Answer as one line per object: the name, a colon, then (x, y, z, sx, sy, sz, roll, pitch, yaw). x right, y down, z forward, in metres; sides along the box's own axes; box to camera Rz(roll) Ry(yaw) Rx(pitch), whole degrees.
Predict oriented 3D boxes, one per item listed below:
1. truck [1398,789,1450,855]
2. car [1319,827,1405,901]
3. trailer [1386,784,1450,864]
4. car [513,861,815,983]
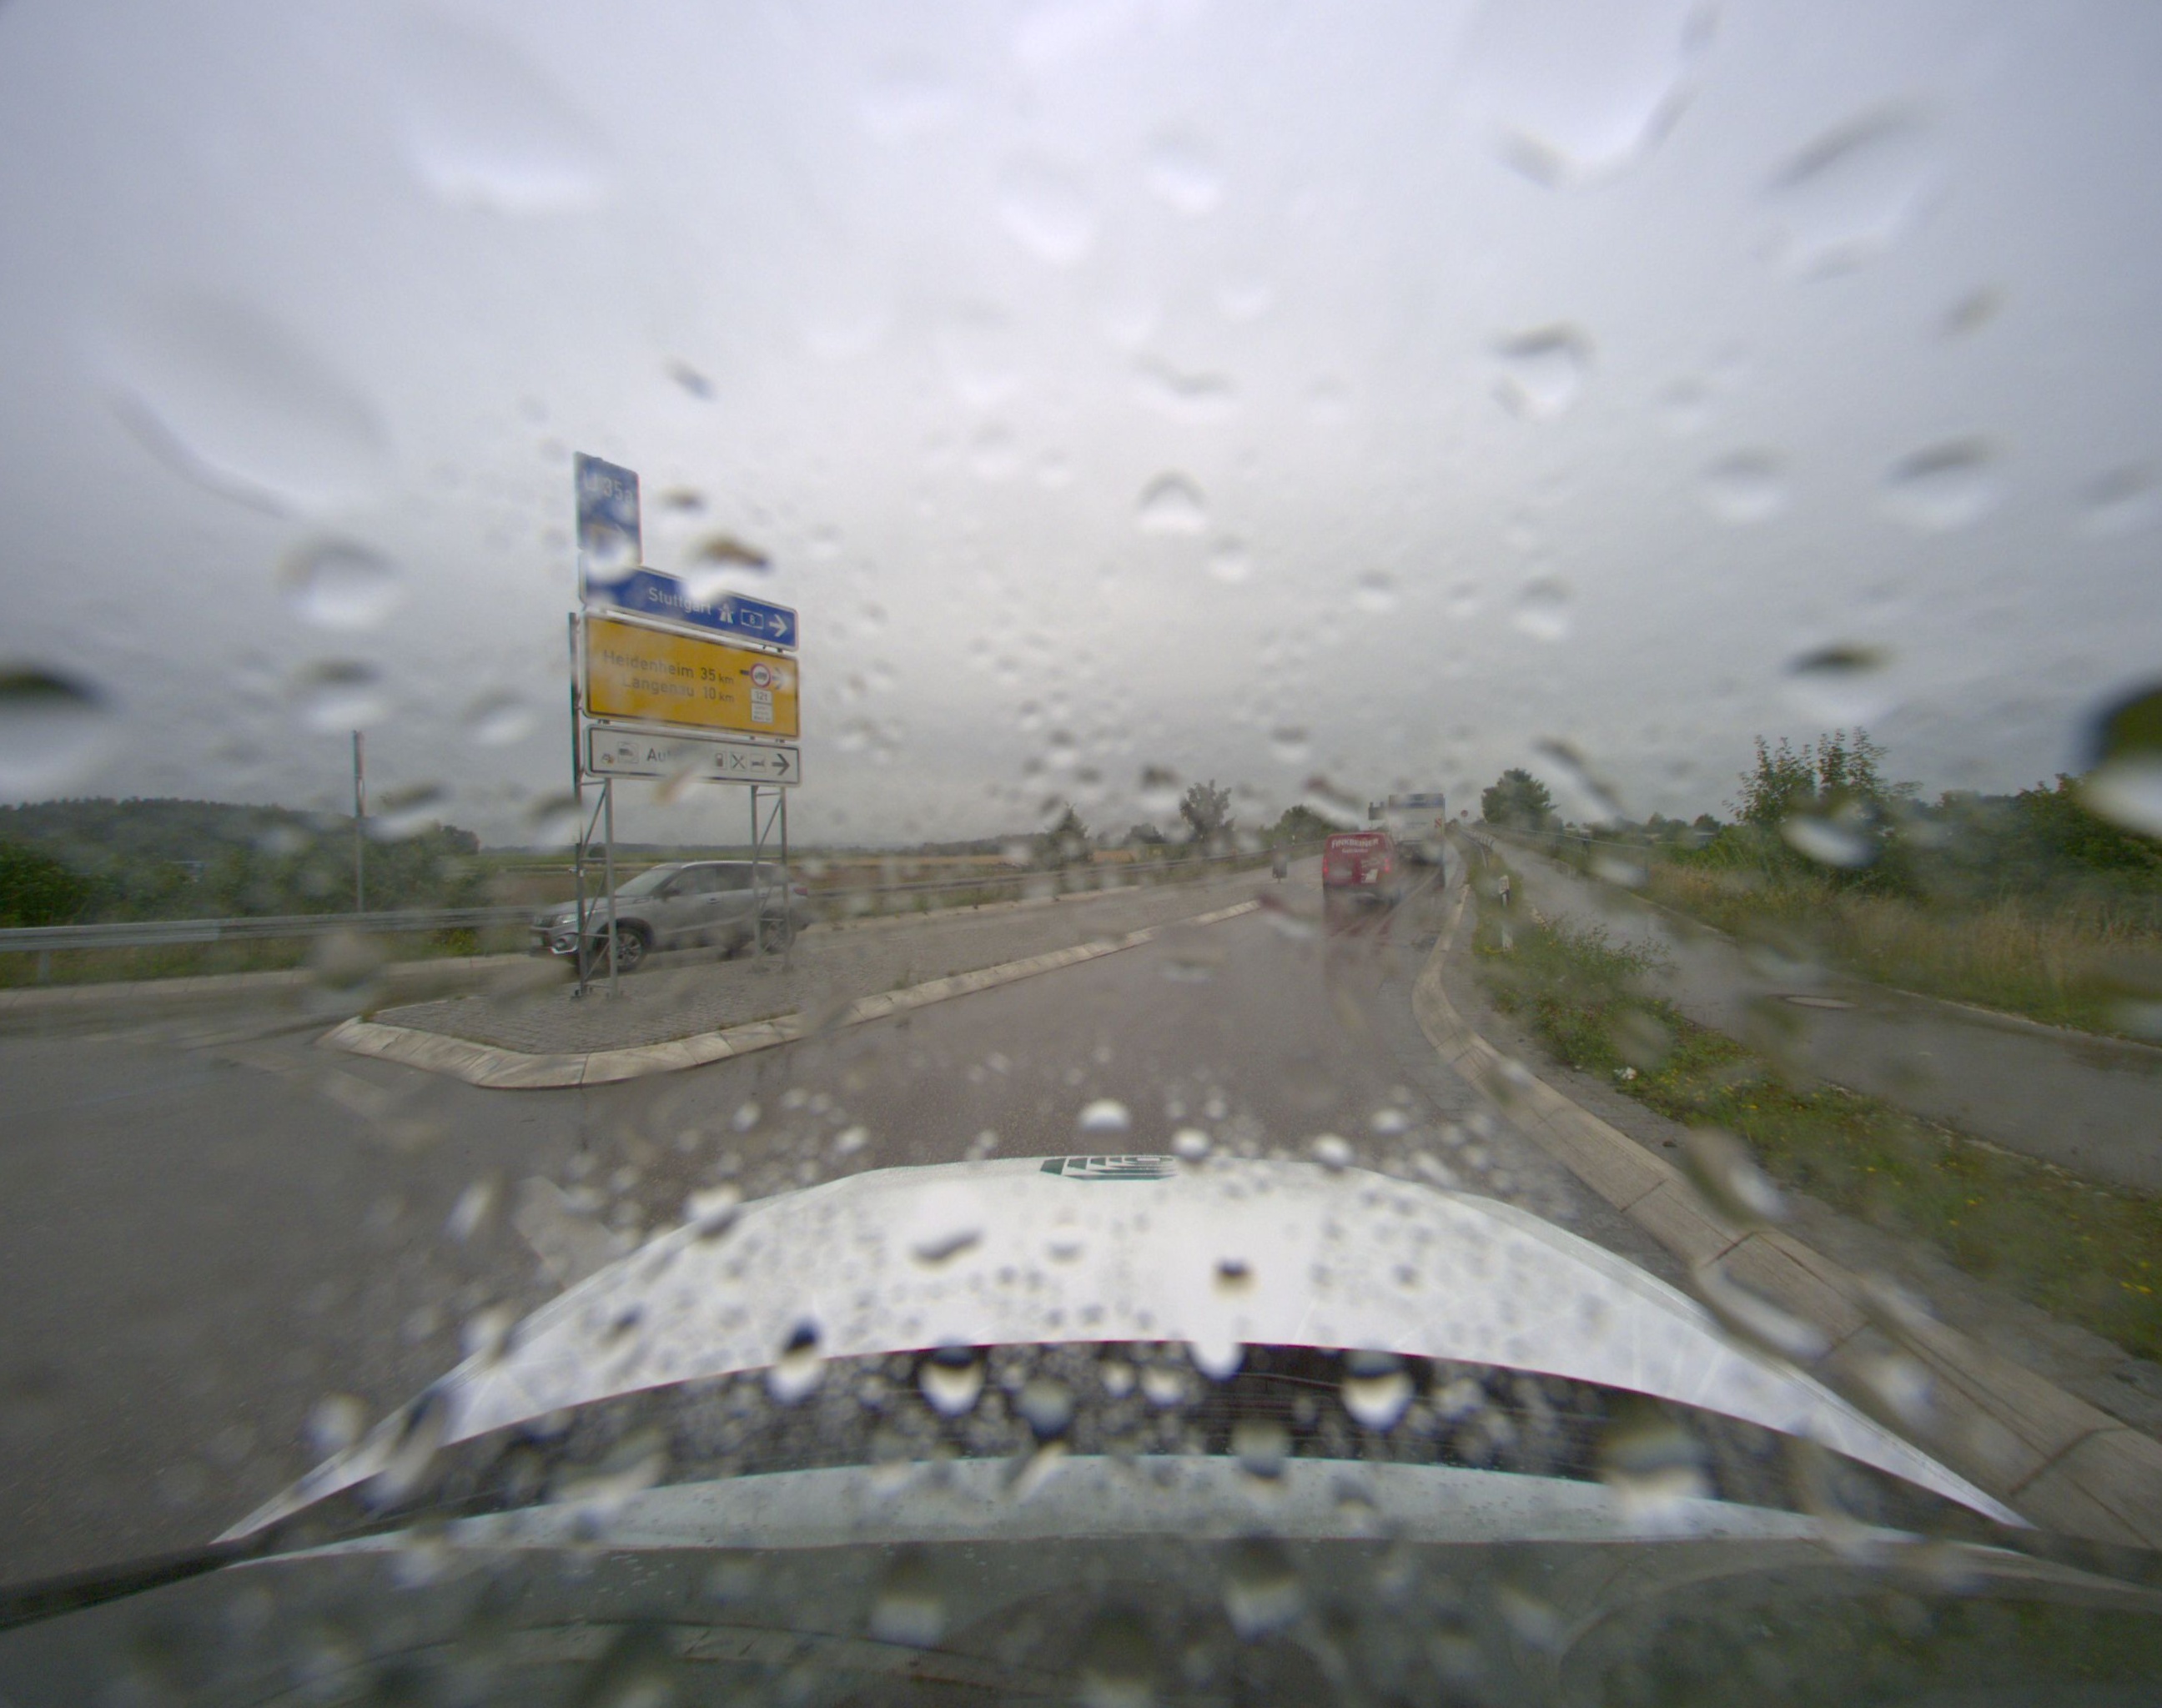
truck: (22.068, -2.008, 52.280, 2.774, 3.818, 7.734, -1, 1, 24)
car: (8.371, 0.218, 23.979, 1.976, 1.870, 5.007, -2, 1, 23)
trailer: (18.508, -1.600, 44.317, 2.806, 3.818, 9.771, -1, 1, 24)
car: (-6.656, 0.955, 13.353, 1.783, 1.575, 4.025, 0, 1, 39)
